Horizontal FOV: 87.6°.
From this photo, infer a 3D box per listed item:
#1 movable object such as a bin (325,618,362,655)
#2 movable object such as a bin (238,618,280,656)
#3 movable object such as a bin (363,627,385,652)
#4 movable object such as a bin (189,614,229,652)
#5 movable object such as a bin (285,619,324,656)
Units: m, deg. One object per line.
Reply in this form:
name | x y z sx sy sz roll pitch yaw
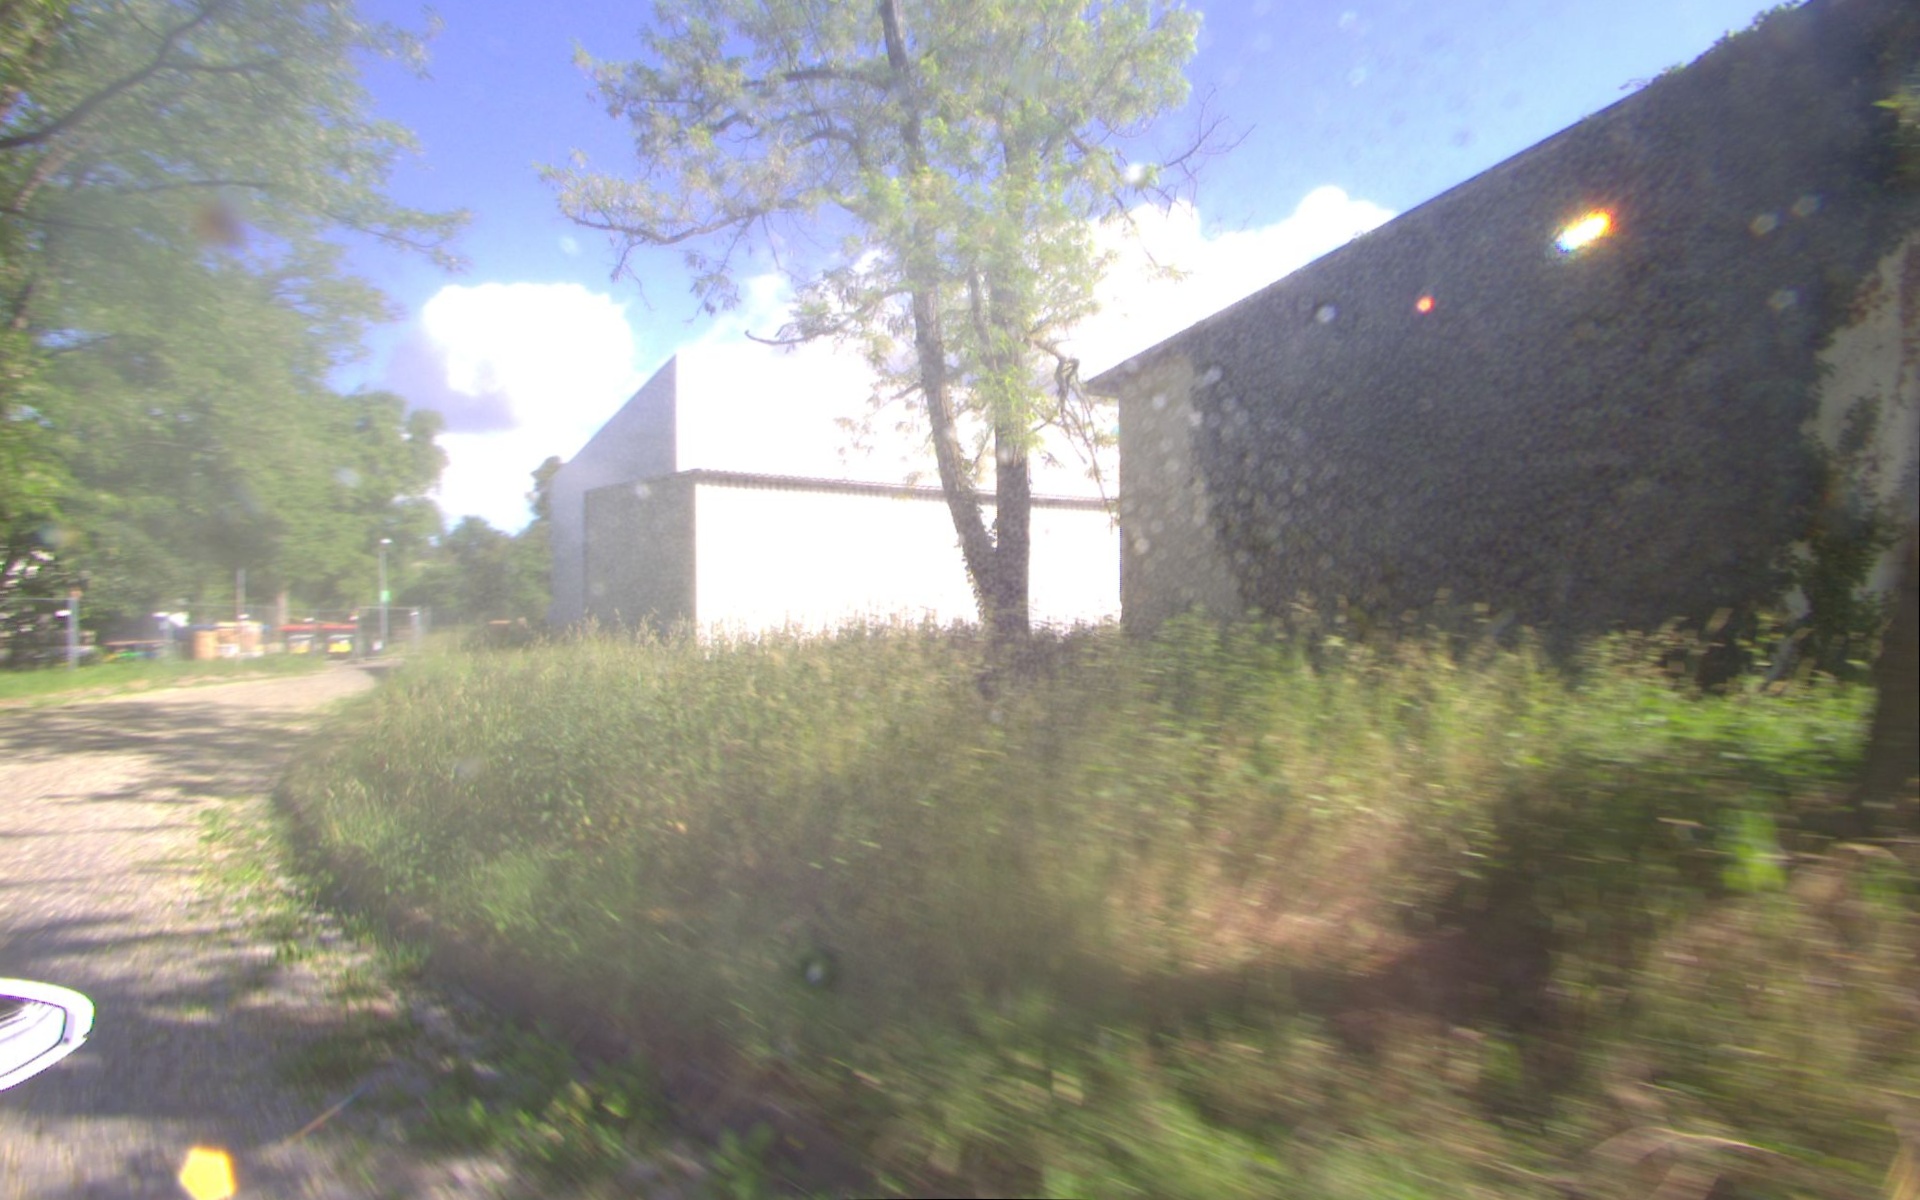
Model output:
movable object such as a bin | -25.148 1.482 40.849 1.274 1.444 1.026 0 -1 -34
movable object such as a bin | -27.555 1.442 39.371 1.274 1.444 1.026 0 -1 -32
movable object such as a bin | -24.133 1.623 41.252 0.632 1.020 0.604 0 0 -14
movable object such as a bin | -28.818 1.263 38.459 1.071 1.457 1.051 0 -1 -28
movable object such as a bin | -26.244 1.475 40.133 1.274 1.444 1.026 0 -1 -32
